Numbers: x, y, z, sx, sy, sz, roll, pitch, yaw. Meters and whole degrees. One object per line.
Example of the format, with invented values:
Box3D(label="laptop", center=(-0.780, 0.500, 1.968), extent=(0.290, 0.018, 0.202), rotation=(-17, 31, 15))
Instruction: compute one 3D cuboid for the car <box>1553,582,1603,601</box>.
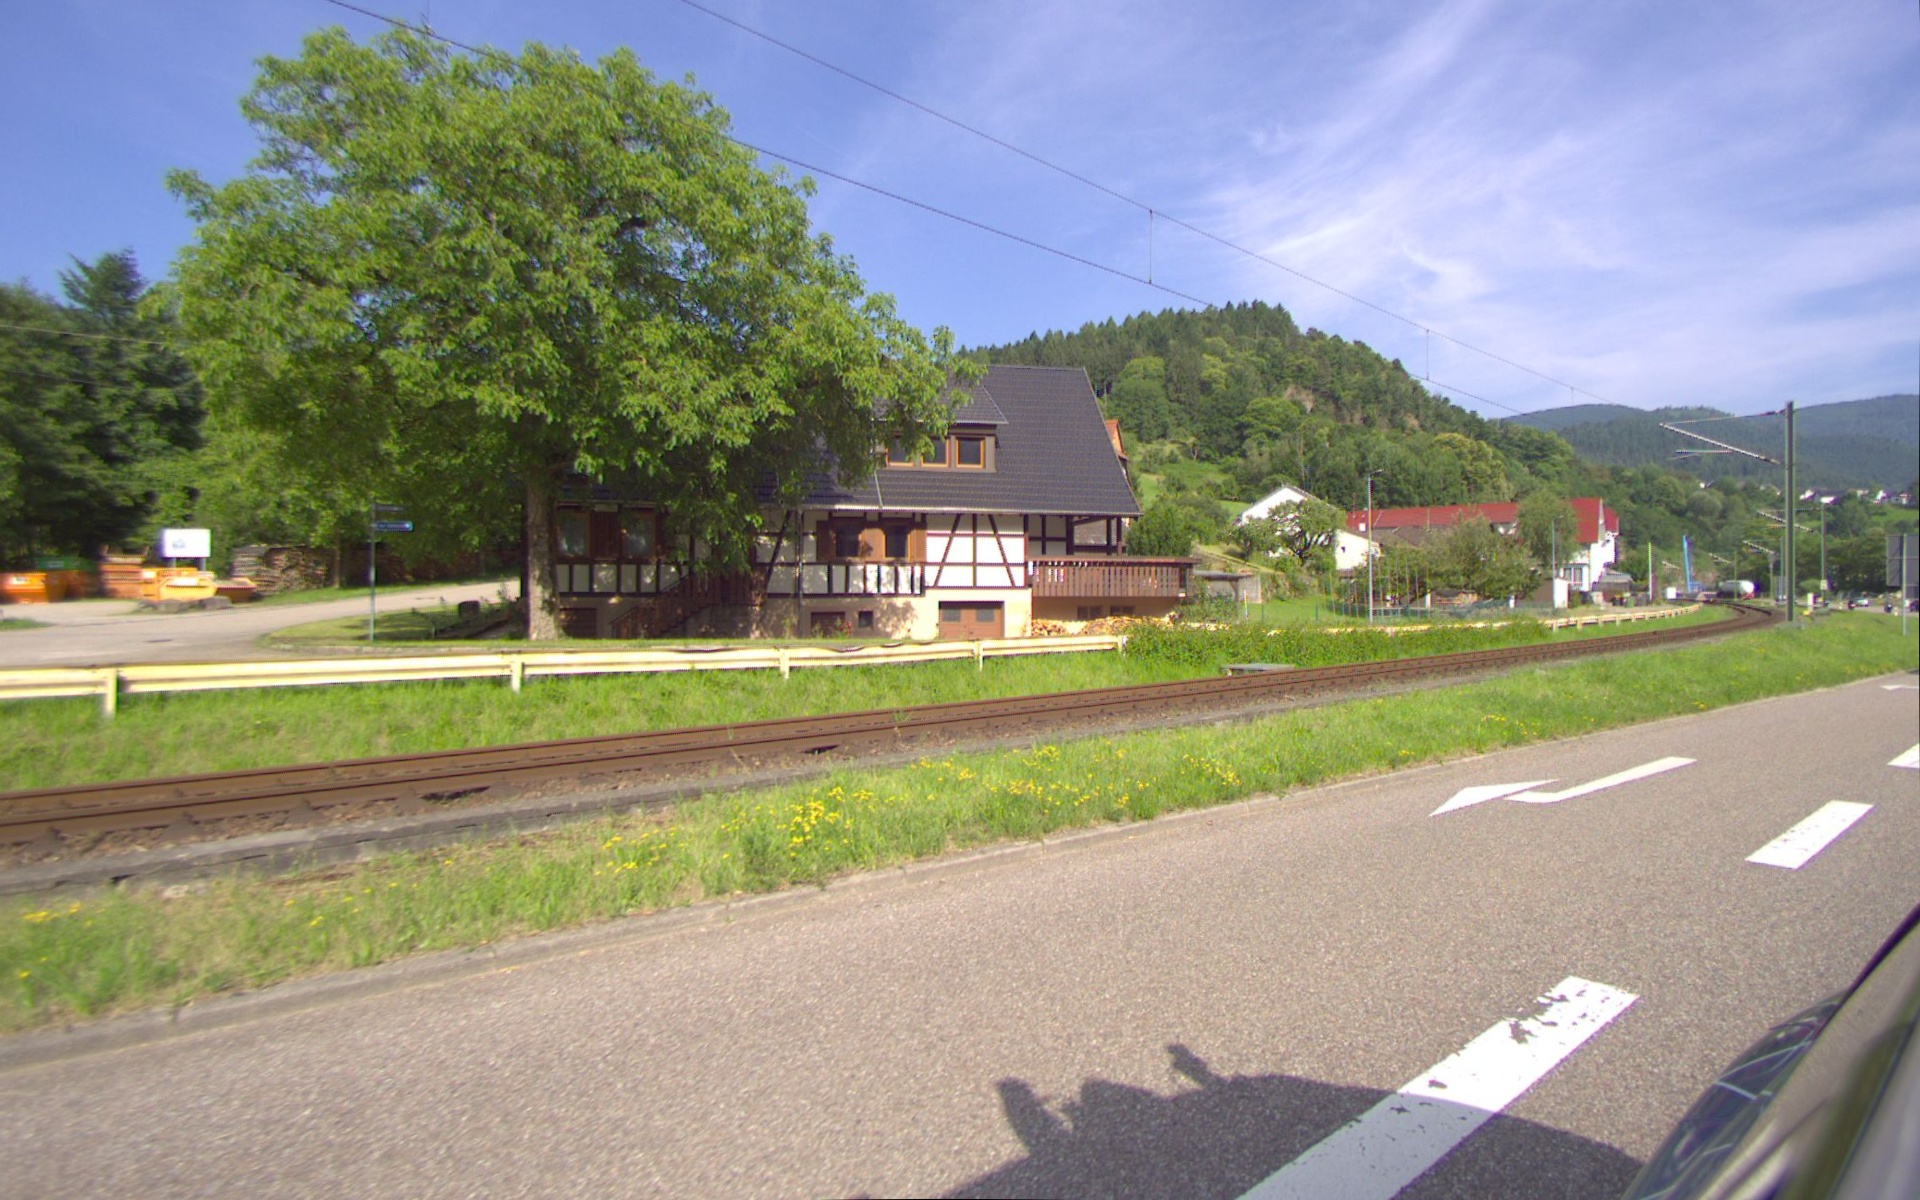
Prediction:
Box3D(label="car", center=(61.587, -0.832, 100.841), extent=(3.987, 1.794, 1.801), rotation=(-1, -1, 45))

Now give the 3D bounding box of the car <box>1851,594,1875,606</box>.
Box3D(label="car", center=(136.773, -0.012, 153.290), extent=(1.853, 1.683, 3.960), rotation=(-1, 0, 29))

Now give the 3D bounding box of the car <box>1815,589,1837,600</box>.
Box3D(label="car", center=(147.091, -0.924, 171.942), extent=(1.981, 1.683, 3.961), rotation=(-1, 0, 28))

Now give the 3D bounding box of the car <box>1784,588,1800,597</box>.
Box3D(label="car", center=(157.097, -1.380, 191.130), extent=(1.710, 1.683, 3.957), rotation=(-1, 0, 30))
